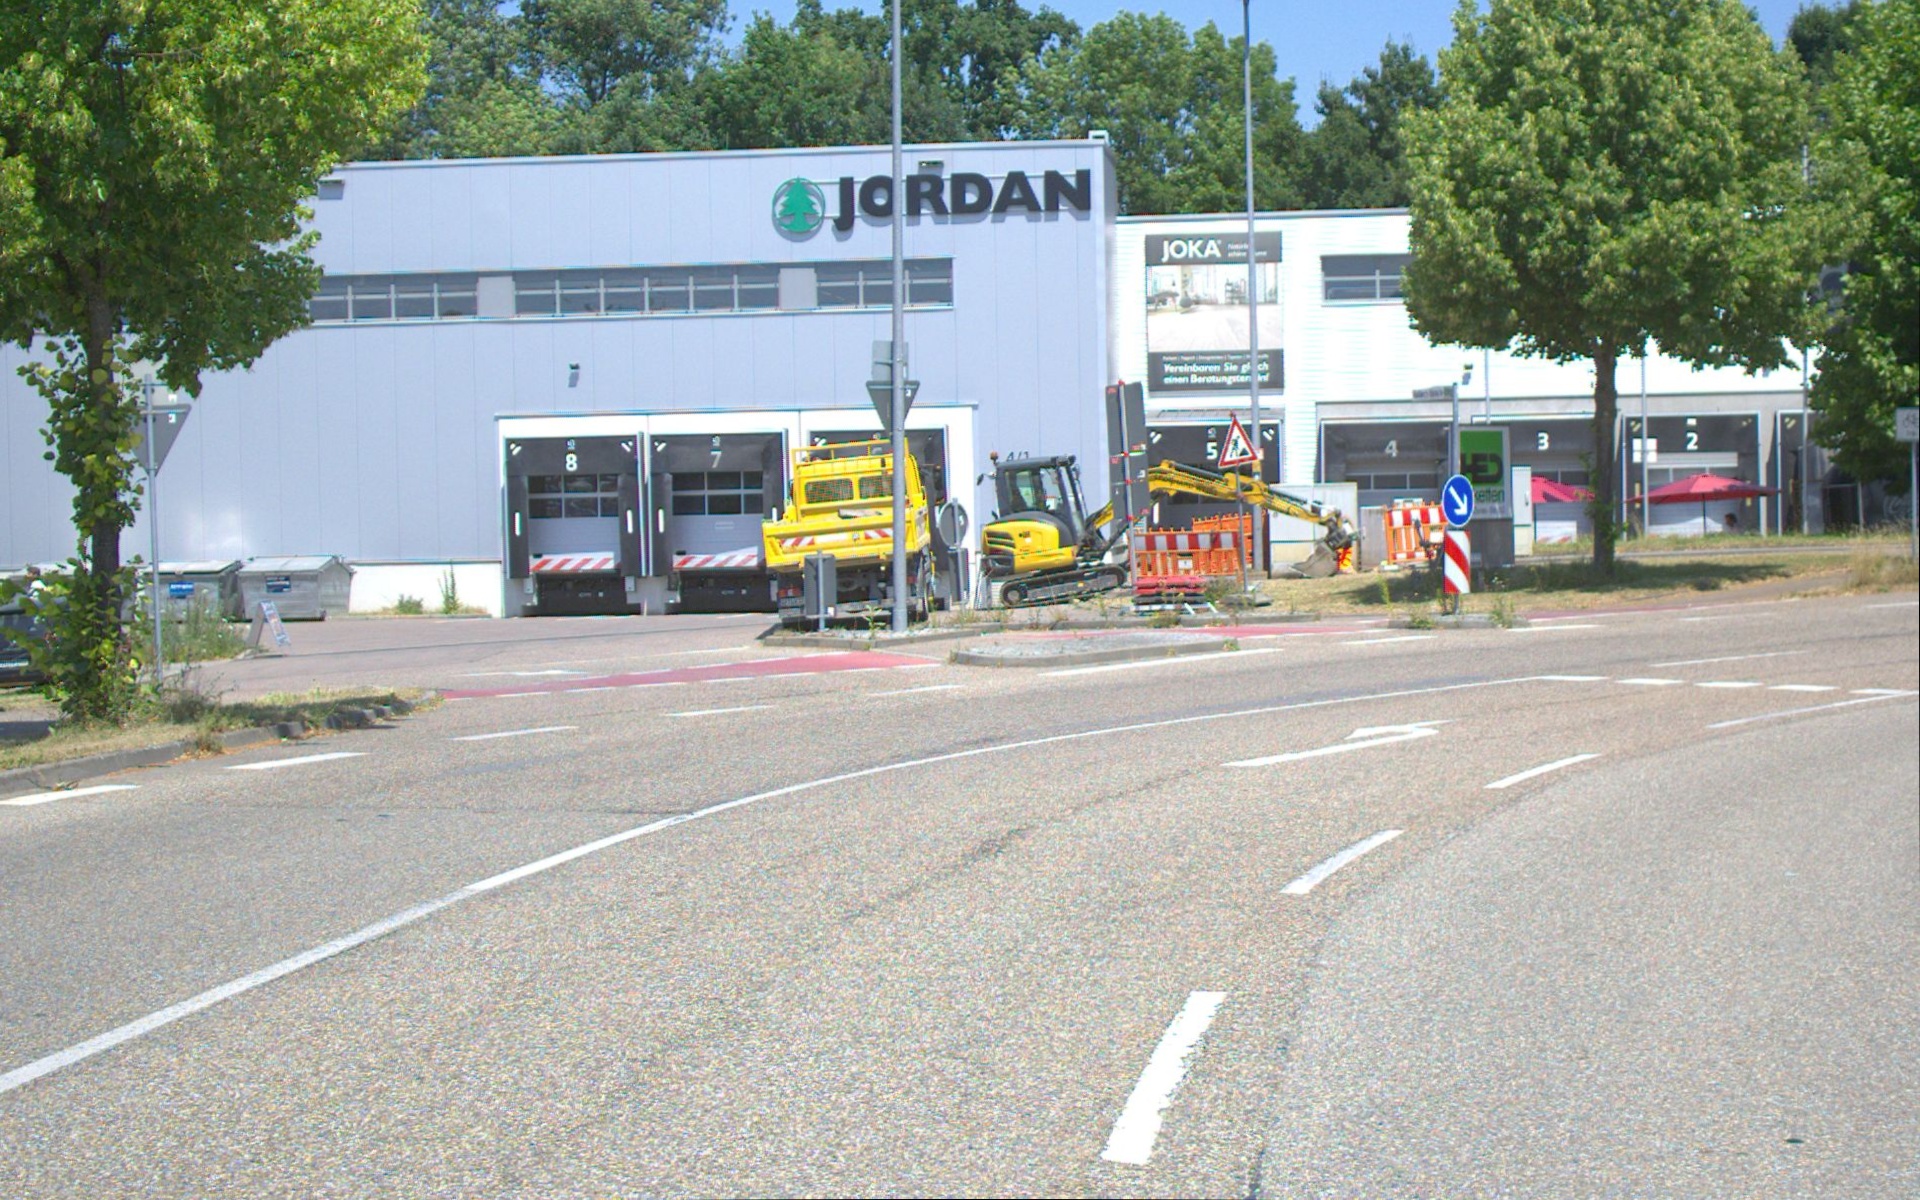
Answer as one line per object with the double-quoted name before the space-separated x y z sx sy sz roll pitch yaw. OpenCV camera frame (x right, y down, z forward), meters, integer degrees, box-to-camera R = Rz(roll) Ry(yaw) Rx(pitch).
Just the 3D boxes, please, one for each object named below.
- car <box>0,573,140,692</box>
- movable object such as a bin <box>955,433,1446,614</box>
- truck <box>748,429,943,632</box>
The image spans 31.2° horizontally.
"car" -15.187 0.528 57.417 1.993 1.546 4.001 -3 5 -1
"movable object such as a bin" 4.061 -1.291 57.183 7.531 2.491 3.665 -2 5 14
"truck" -1.944 -1.237 57.376 2.938 2.875 5.811 -3 5 -2
